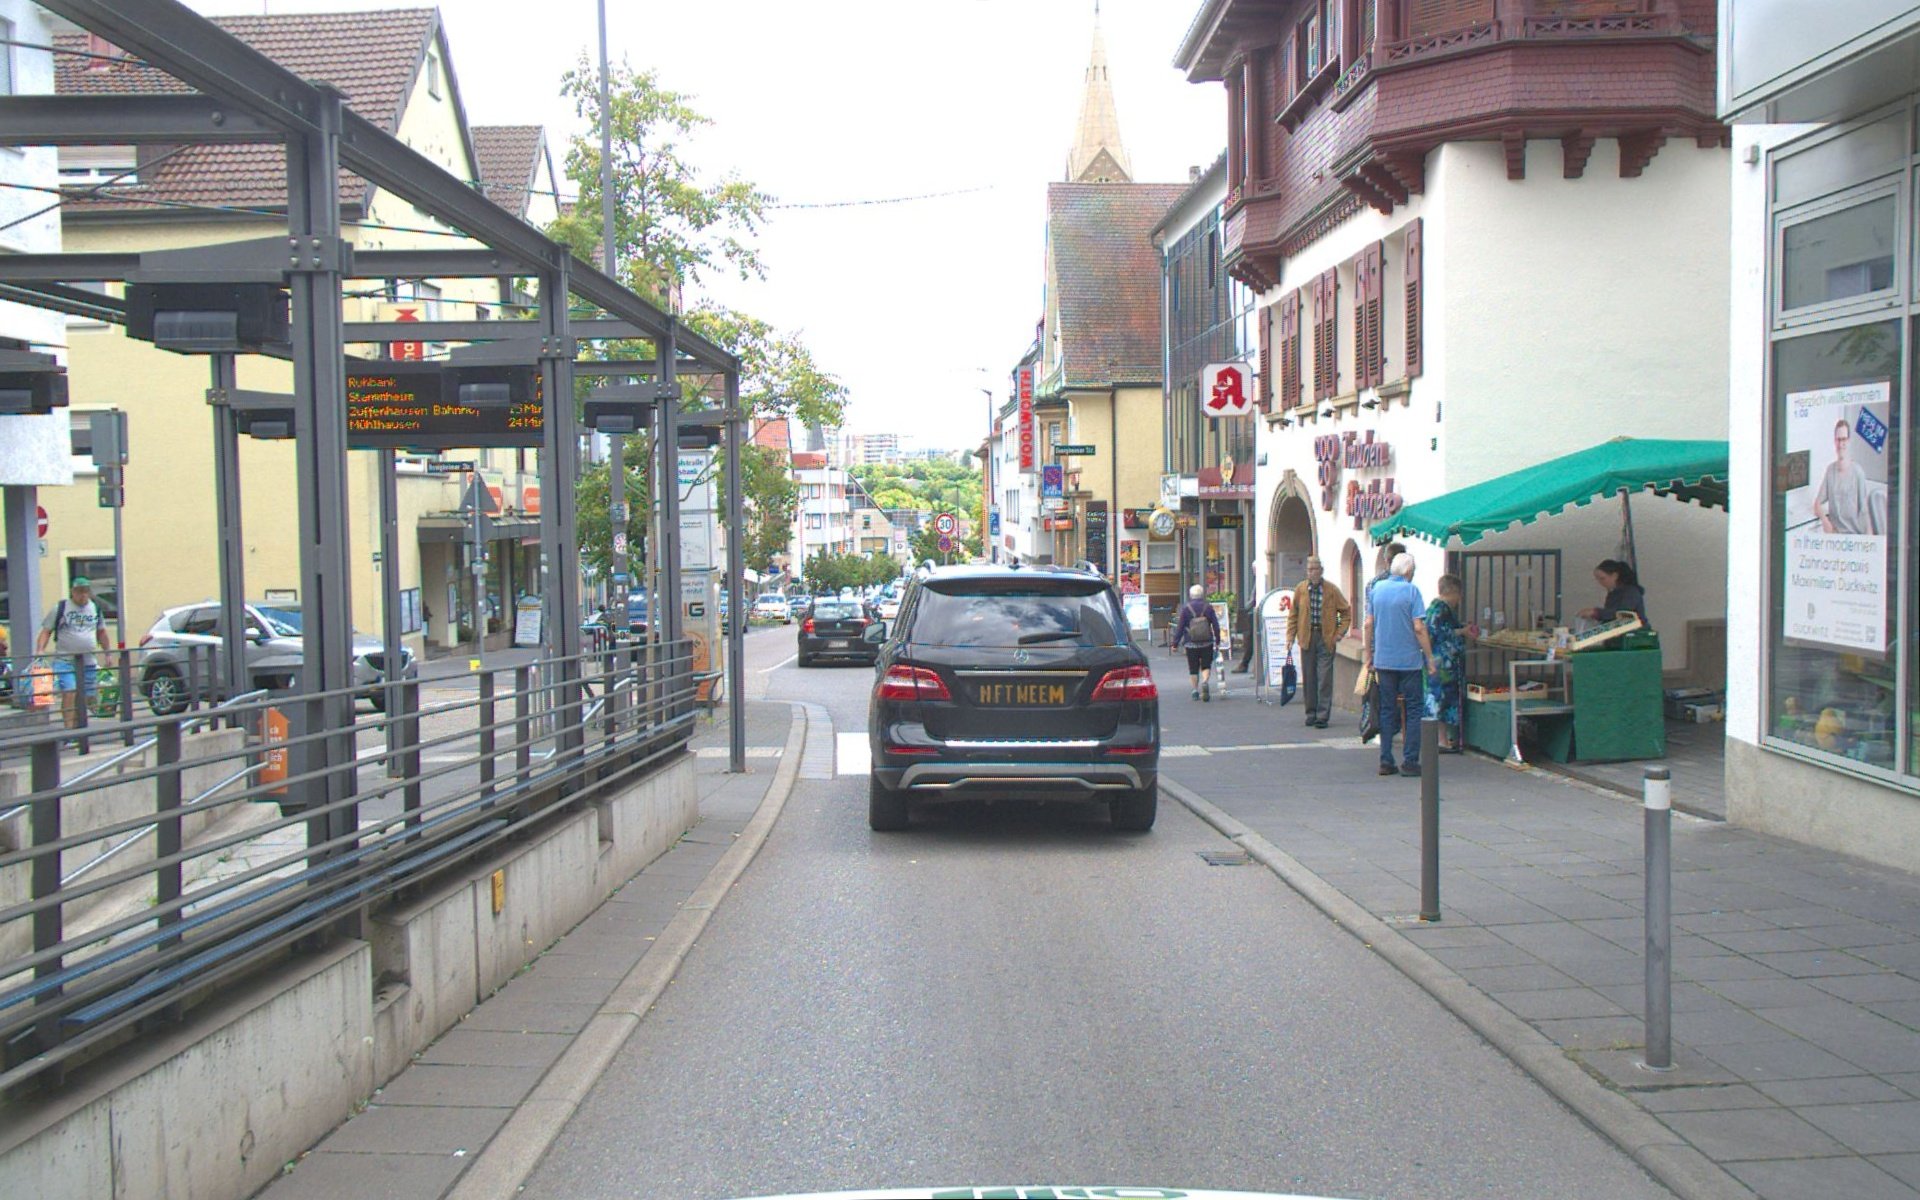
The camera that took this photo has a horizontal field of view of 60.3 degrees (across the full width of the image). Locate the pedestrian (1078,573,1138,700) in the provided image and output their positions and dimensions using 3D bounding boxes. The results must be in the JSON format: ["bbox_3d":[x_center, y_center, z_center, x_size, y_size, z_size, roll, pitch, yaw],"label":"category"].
[{"bbox_3d":[2.004,0.479,22.395,0.756,1.674,0.870,-1,0,4],"label":"pedestrian"}]

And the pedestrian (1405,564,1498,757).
[{"bbox_3d":[4.309,0.520,14.536,0.610,1.641,0.703,-1,0,4],"label":"pedestrian"}]

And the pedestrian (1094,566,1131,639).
[{"bbox_3d":[3.678,0.059,40.065,0.845,1.737,0.945,-1,0,4],"label":"pedestrian"}]

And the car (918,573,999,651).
[{"bbox_3d":[0.018,0.258,41.615,1.838,1.831,4.733,-1,0,2],"label":"car"}]

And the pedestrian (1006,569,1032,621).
[{"bbox_3d":[2.019,-0.171,56.398,0.780,1.757,1.052,-2,0,-1],"label":"pedestrian"}]

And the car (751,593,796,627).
[{"bbox_3d":[-9.021,0.470,80.257,1.888,1.538,4.260,1,0,-3],"label":"car"}]

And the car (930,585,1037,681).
[{"bbox_3d":[0.367,0.545,30.089,1.766,1.582,3.953,-2,0,-1],"label":"car"}]

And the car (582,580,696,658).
[{"bbox_3d":[-7.679,0.409,39.984,1.966,1.723,4.606,0,1,-2],"label":"car"}]

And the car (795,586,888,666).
[{"bbox_3d":[-2.476,0.514,35.231,1.749,1.567,3.743,-1,0,-1],"label":"car"}]

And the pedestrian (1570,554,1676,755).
[{"bbox_3d":[5.578,0.448,13.938,0.610,1.641,0.703,-1,0,4],"label":"pedestrian"}]

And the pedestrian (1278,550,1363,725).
[{"bbox_3d":[3.876,0.391,17.815,0.769,1.833,0.676,-1,0,4],"label":"pedestrian"}]

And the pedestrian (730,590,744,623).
[{"bbox_3d":[-10.160,0.305,75.261,0.480,1.489,0.559,-1,0,7],"label":"pedestrian"}]

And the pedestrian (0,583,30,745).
[{"bbox_3d":[-10.792,0.707,18.189,0.624,1.769,0.835,-2,0,-4],"label":"pedestrian"}]

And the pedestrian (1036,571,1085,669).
[{"bbox_3d":[1.776,0.348,29.133,0.806,1.695,0.802,-1,0,4],"label":"pedestrian"}]

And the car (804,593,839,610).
[{"bbox_3d":[-16.232,0.177,193.770,3.910,1.780,1.998,-3,0,-6],"label":"car"}]

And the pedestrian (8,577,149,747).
[{"bbox_3d":[-9.728,0.666,18.277,0.897,1.819,0.988,-1,0,15],"label":"pedestrian"}]

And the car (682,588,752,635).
[{"bbox_3d":[-8.396,0.360,57.556,1.888,1.518,4.840,1,0,-3],"label":"car"}]

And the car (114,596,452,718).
[{"bbox_3d":[-9.905,0.828,24.284,4.249,1.649,1.971,-1,0,16],"label":"car"}]

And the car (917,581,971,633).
[{"bbox_3d":[-0.561,0.227,57.088,1.713,1.635,3.799,-3,0,-1],"label":"car"}]

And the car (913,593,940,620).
[{"bbox_3d":[-2.527,0.461,124.832,1.899,1.924,4.705,-3,0,-2],"label":"car"}]

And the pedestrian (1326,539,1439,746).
[{"bbox_3d":[3.979,0.384,15.583,0.766,1.889,0.699,-1,0,41],"label":"pedestrian"}]

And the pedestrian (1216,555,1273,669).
[{"bbox_3d":[4.598,0.186,26.761,0.758,1.800,0.817,-1,0,0],"label":"pedestrian"}]

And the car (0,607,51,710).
[{"bbox_3d":[-17.161,0.976,26.365,4.287,1.596,1.907,-2,0,-16],"label":"car"}]

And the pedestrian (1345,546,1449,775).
[{"bbox_3d":[3.535,0.476,13.373,0.686,1.797,0.625,-1,0,24],"label":"pedestrian"}]

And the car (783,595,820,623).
[{"bbox_3d":[-9.313,0.537,97.515,1.888,1.650,4.637,0,-1,-3],"label":"car"}]

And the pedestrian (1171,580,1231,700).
[{"bbox_3d":[3.199,0.519,22.041,0.709,1.558,0.808,-1,0,4],"label":"pedestrian"}]

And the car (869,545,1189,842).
[{"bbox_3d":[0.385,0.545,12.003,1.904,1.770,4.178,0,0,-1],"label":"car"}]
